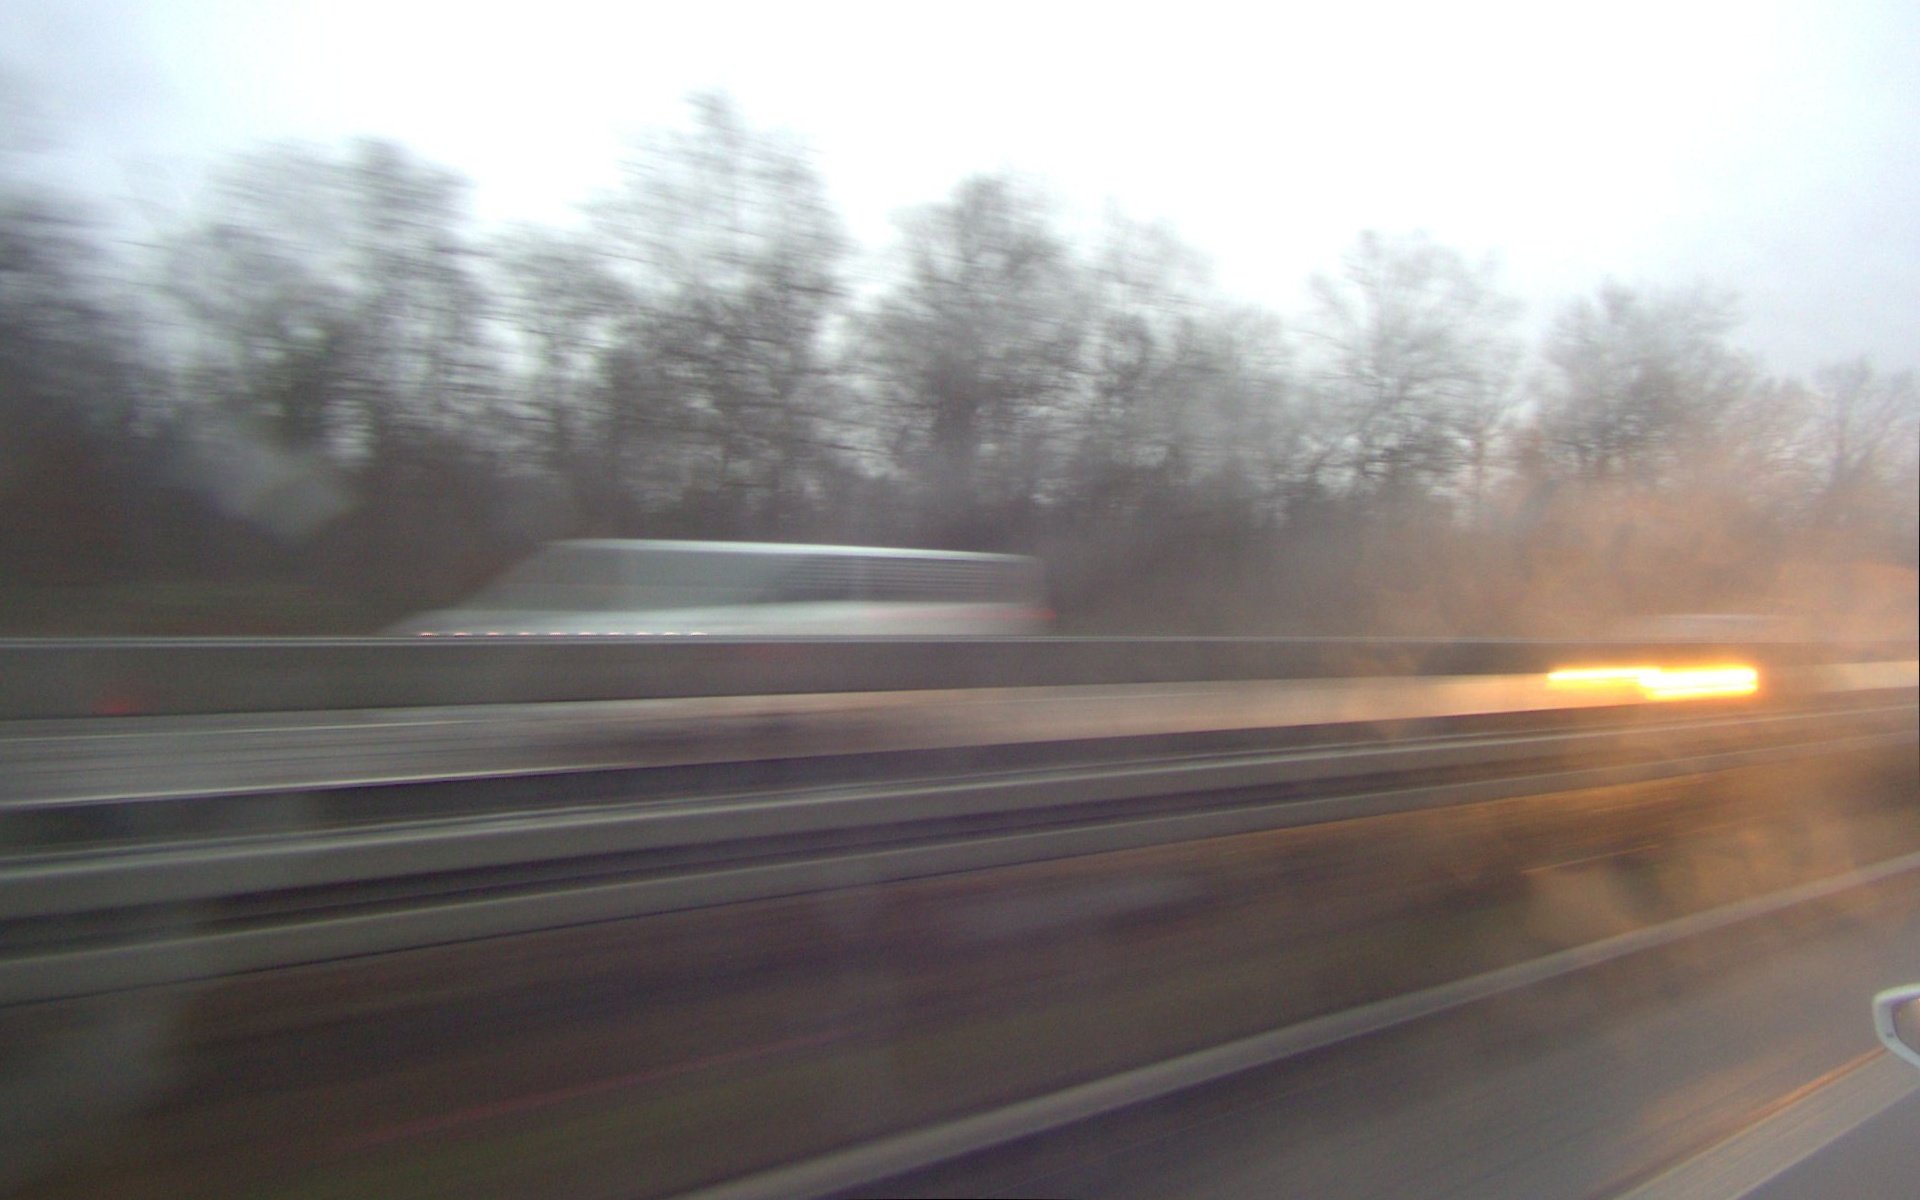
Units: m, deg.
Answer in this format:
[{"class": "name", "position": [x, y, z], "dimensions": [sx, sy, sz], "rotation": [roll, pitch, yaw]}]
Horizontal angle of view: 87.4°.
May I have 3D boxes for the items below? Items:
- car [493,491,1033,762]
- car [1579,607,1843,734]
[{"class": "car", "position": [-2.019, 0.299, 10.947], "dimensions": [5.397, 2.347, 2.021], "rotation": [2, 0, -30]}, {"class": "car", "position": [10.133, 0.897, 13.524], "dimensions": [3.483, 1.487, 1.623], "rotation": [2, 0, -31]}]
